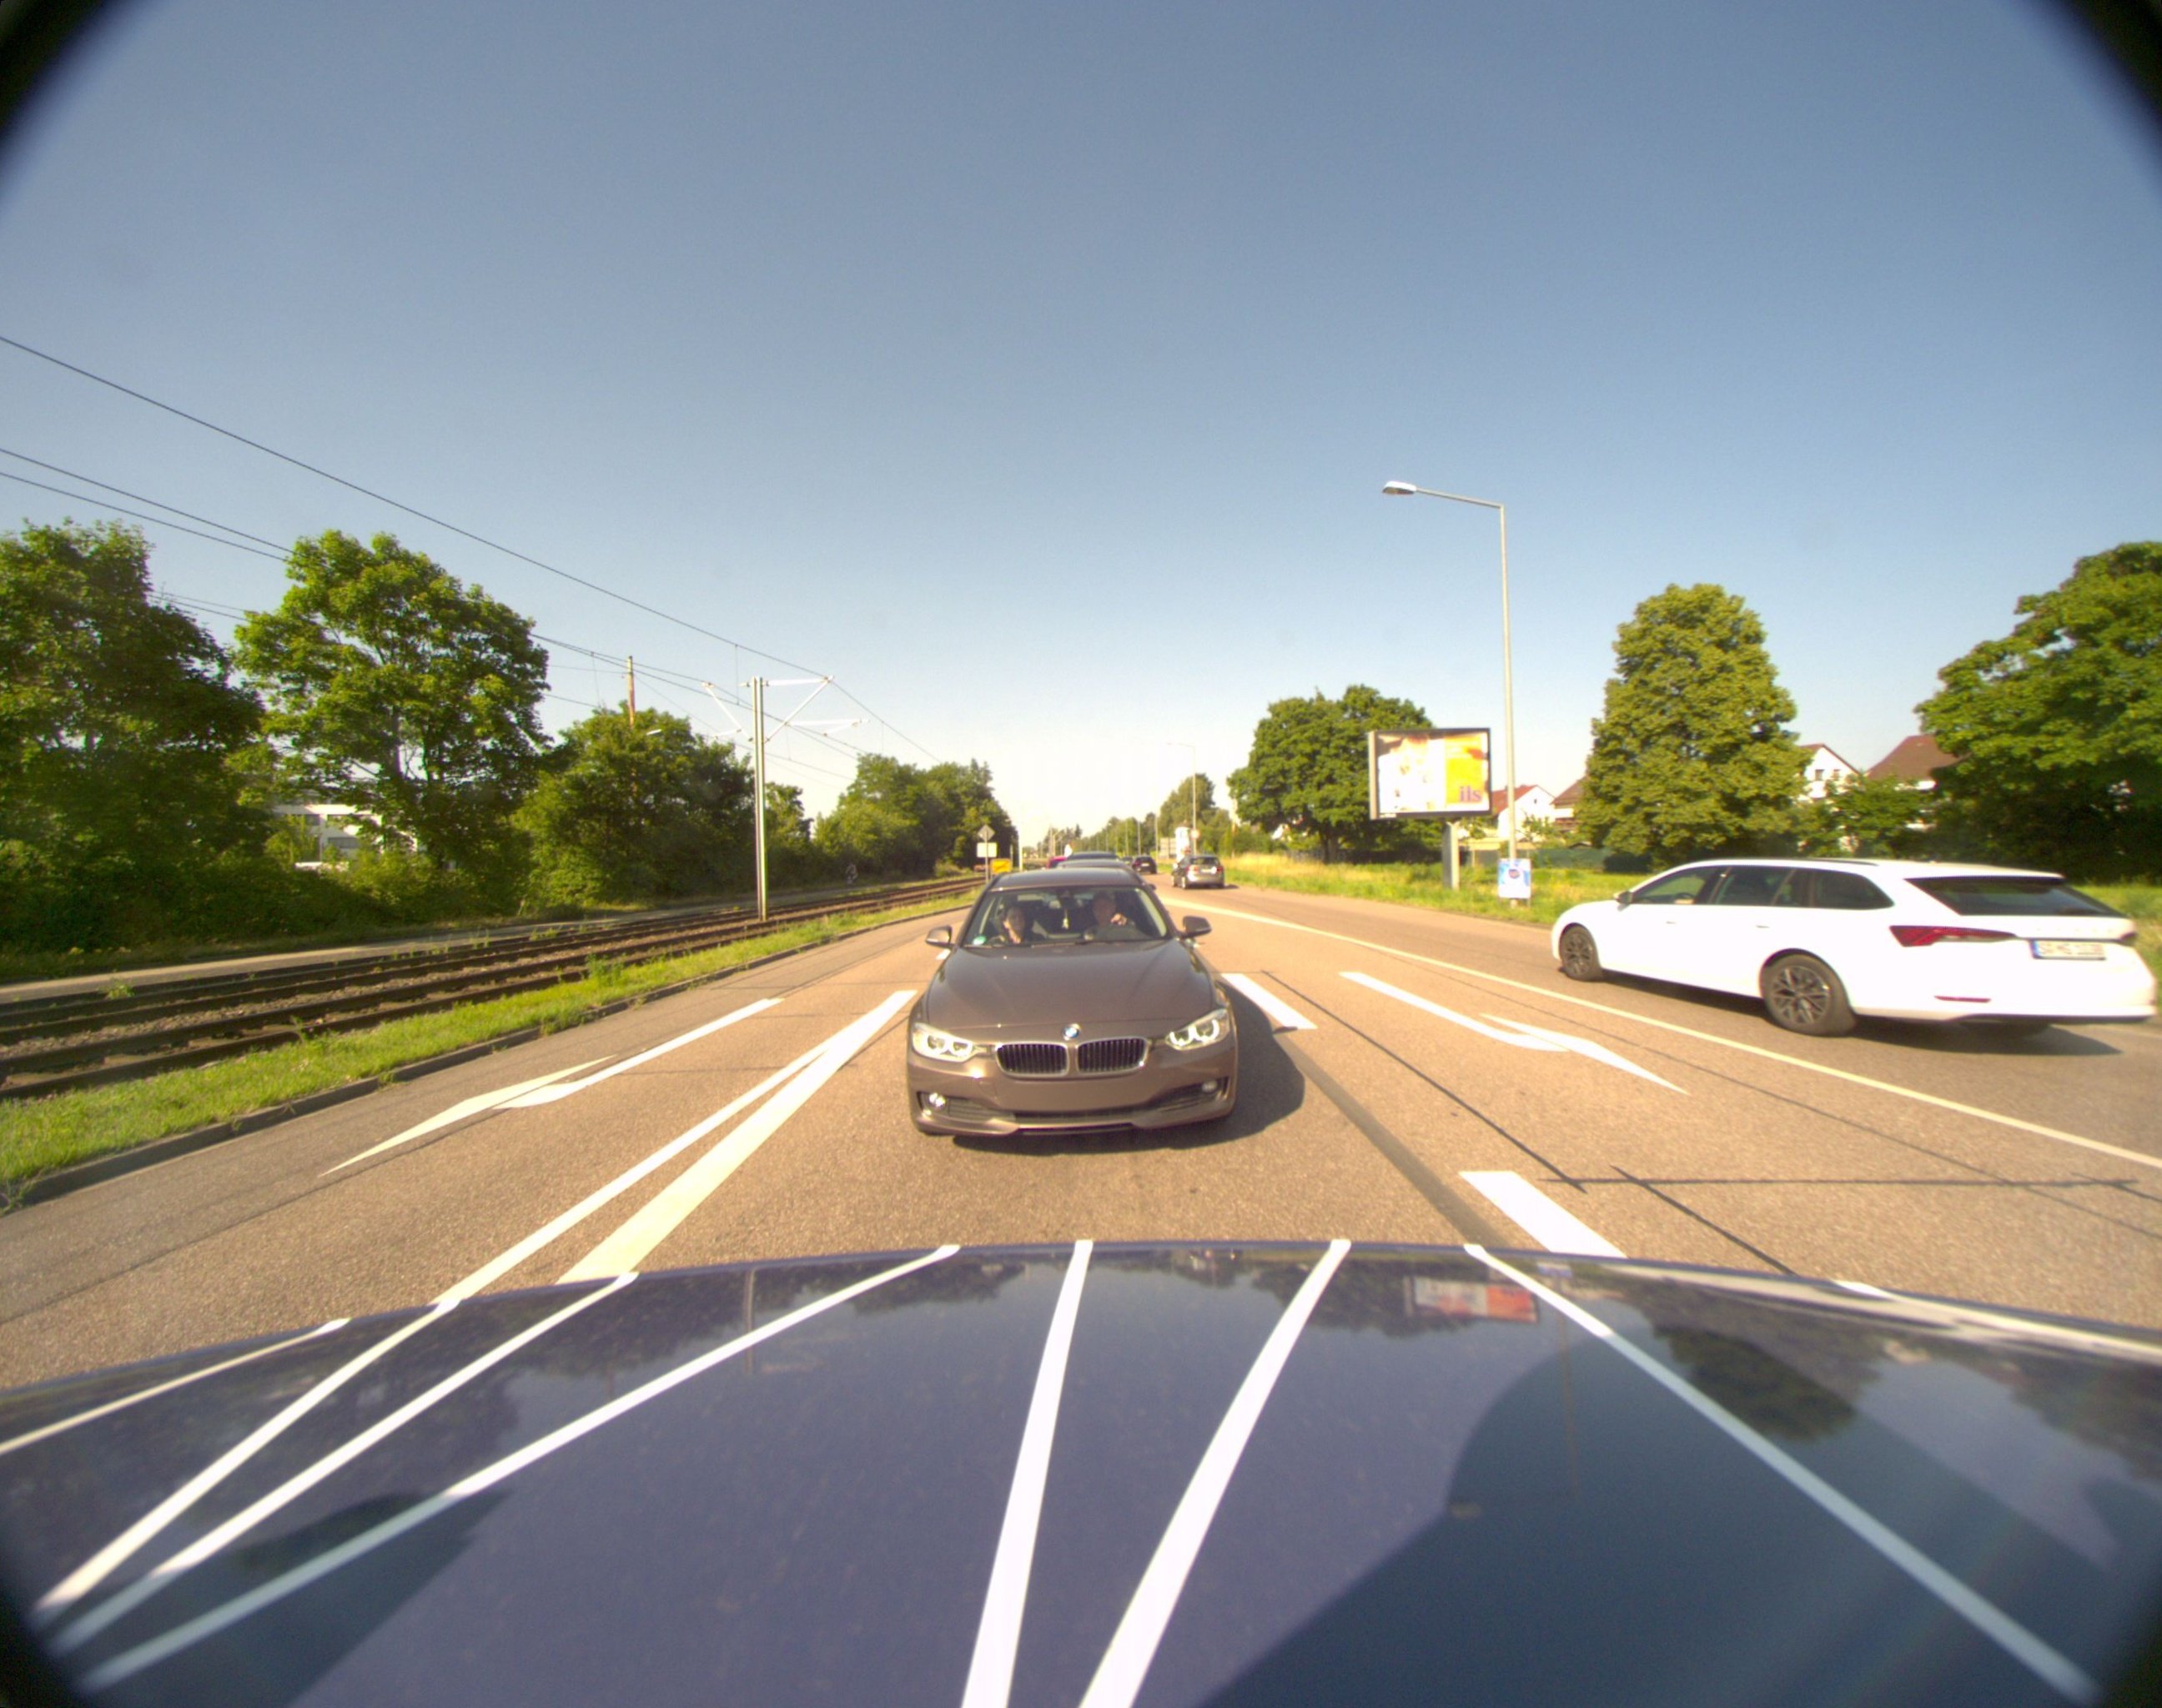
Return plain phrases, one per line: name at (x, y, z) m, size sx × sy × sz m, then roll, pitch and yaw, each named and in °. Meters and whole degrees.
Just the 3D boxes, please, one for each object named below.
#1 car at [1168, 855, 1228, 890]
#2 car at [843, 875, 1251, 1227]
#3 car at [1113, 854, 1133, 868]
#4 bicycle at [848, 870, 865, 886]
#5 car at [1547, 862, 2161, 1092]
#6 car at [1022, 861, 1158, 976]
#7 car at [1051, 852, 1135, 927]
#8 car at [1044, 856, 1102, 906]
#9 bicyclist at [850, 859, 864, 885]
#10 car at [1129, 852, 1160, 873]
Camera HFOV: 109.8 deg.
car at (5.289, 0.779, 34.867) m, size 1.784 × 1.469 × 4.285 m, roll -1°, pitch 0°, yaw -4°
car at (-0.129, 0.976, 5.735) m, size 1.821 × 1.416 × 4.461 m, roll -2°, pitch 0°, yaw 1°
car at (4.710, 0.713, 84.848) m, size 1.784 × 1.469 × 4.285 m, roll -1°, pitch 0°, yaw -3°
bicycle at (-15.797, 1.681, 53.547) m, size 0.546 × 1.041 × 1.874 m, roll -1°, pitch 0°, yaw 3°
car at (6.652, 0.847, 7.178) m, size 1.784 × 1.469 × 4.272 m, roll 1°, pitch 0°, yaw -1°
car at (0.141, 0.902, 12.644) m, size 1.821 × 1.481 × 4.611 m, roll -1°, pitch 0°, yaw 0°
car at (0.290, 0.801, 19.556) m, size 1.821 × 1.641 × 4.611 m, roll -2°, pitch 0°, yaw 0°
car at (-0.240, 0.862, 26.043) m, size 1.807 × 1.498 × 4.197 m, roll -1°, pitch 0°, yaw 0°
bicyclist at (-15.817, 1.290, 53.656) m, size 0.707 × 1.797 × 0.718 m, roll -1°, pitch 1°, yaw 3°
car at (4.786, 0.616, 57.694) m, size 1.784 × 1.469 × 4.285 m, roll -1°, pitch 0°, yaw -3°
